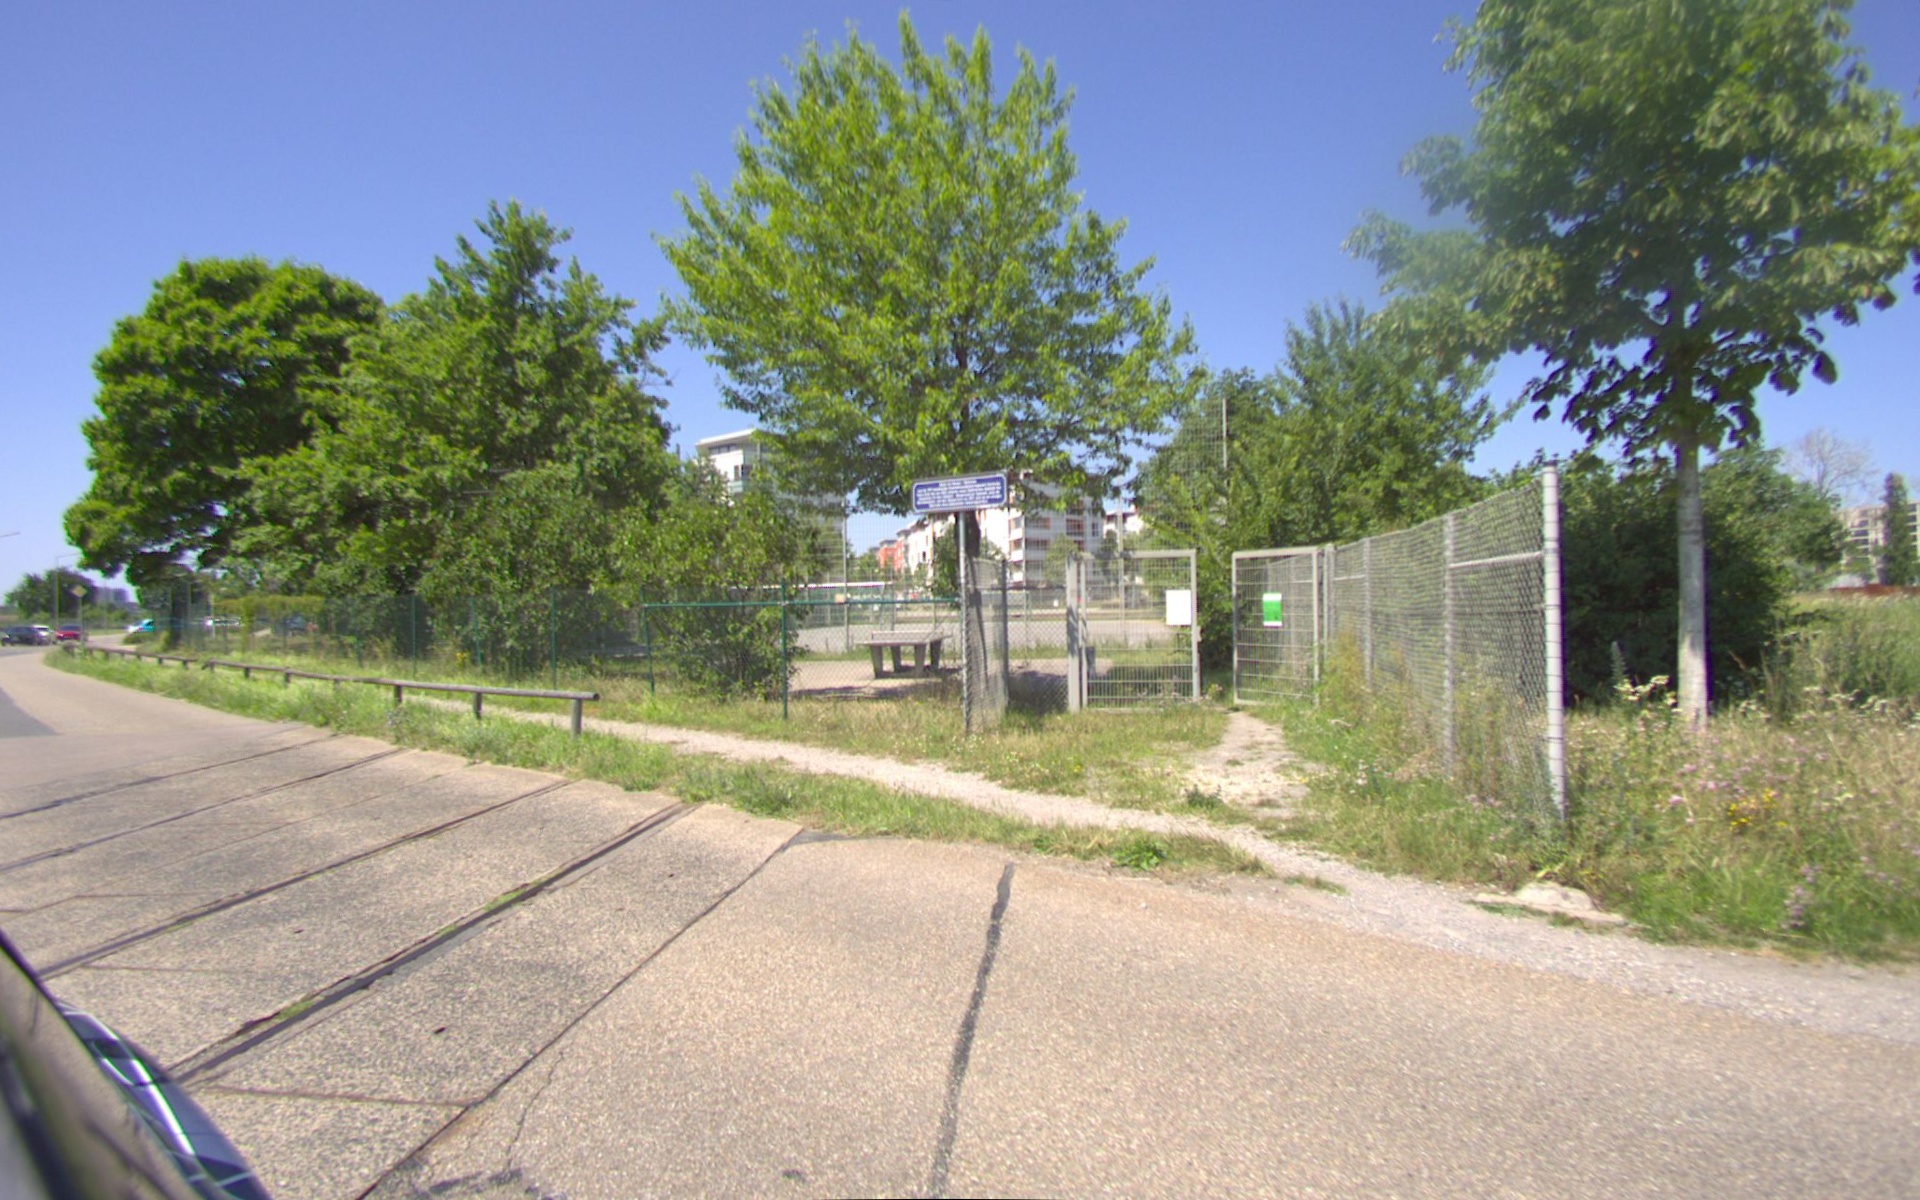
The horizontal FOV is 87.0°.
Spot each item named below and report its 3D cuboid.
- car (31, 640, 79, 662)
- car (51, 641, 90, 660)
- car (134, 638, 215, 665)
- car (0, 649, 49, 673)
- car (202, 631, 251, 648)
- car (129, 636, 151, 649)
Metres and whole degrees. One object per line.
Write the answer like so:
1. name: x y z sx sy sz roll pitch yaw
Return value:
1. car: -68.524 3.849 76.643 1.626 1.478 3.879 -1 -1 -25
2. car: -75.442 4.290 85.864 1.626 1.478 3.878 -1 -1 -28
3. car: -52.188 3.414 67.322 3.931 1.564 1.897 -1 -1 -28
4. car: -66.100 4.296 71.480 1.626 1.478 3.878 -1 -1 -26
5. car: -76.400 4.097 105.406 3.931 1.564 1.629 -1 -1 -28
6. car: -99.769 5.115 123.167 1.627 1.478 3.877 -1 -1 -32
